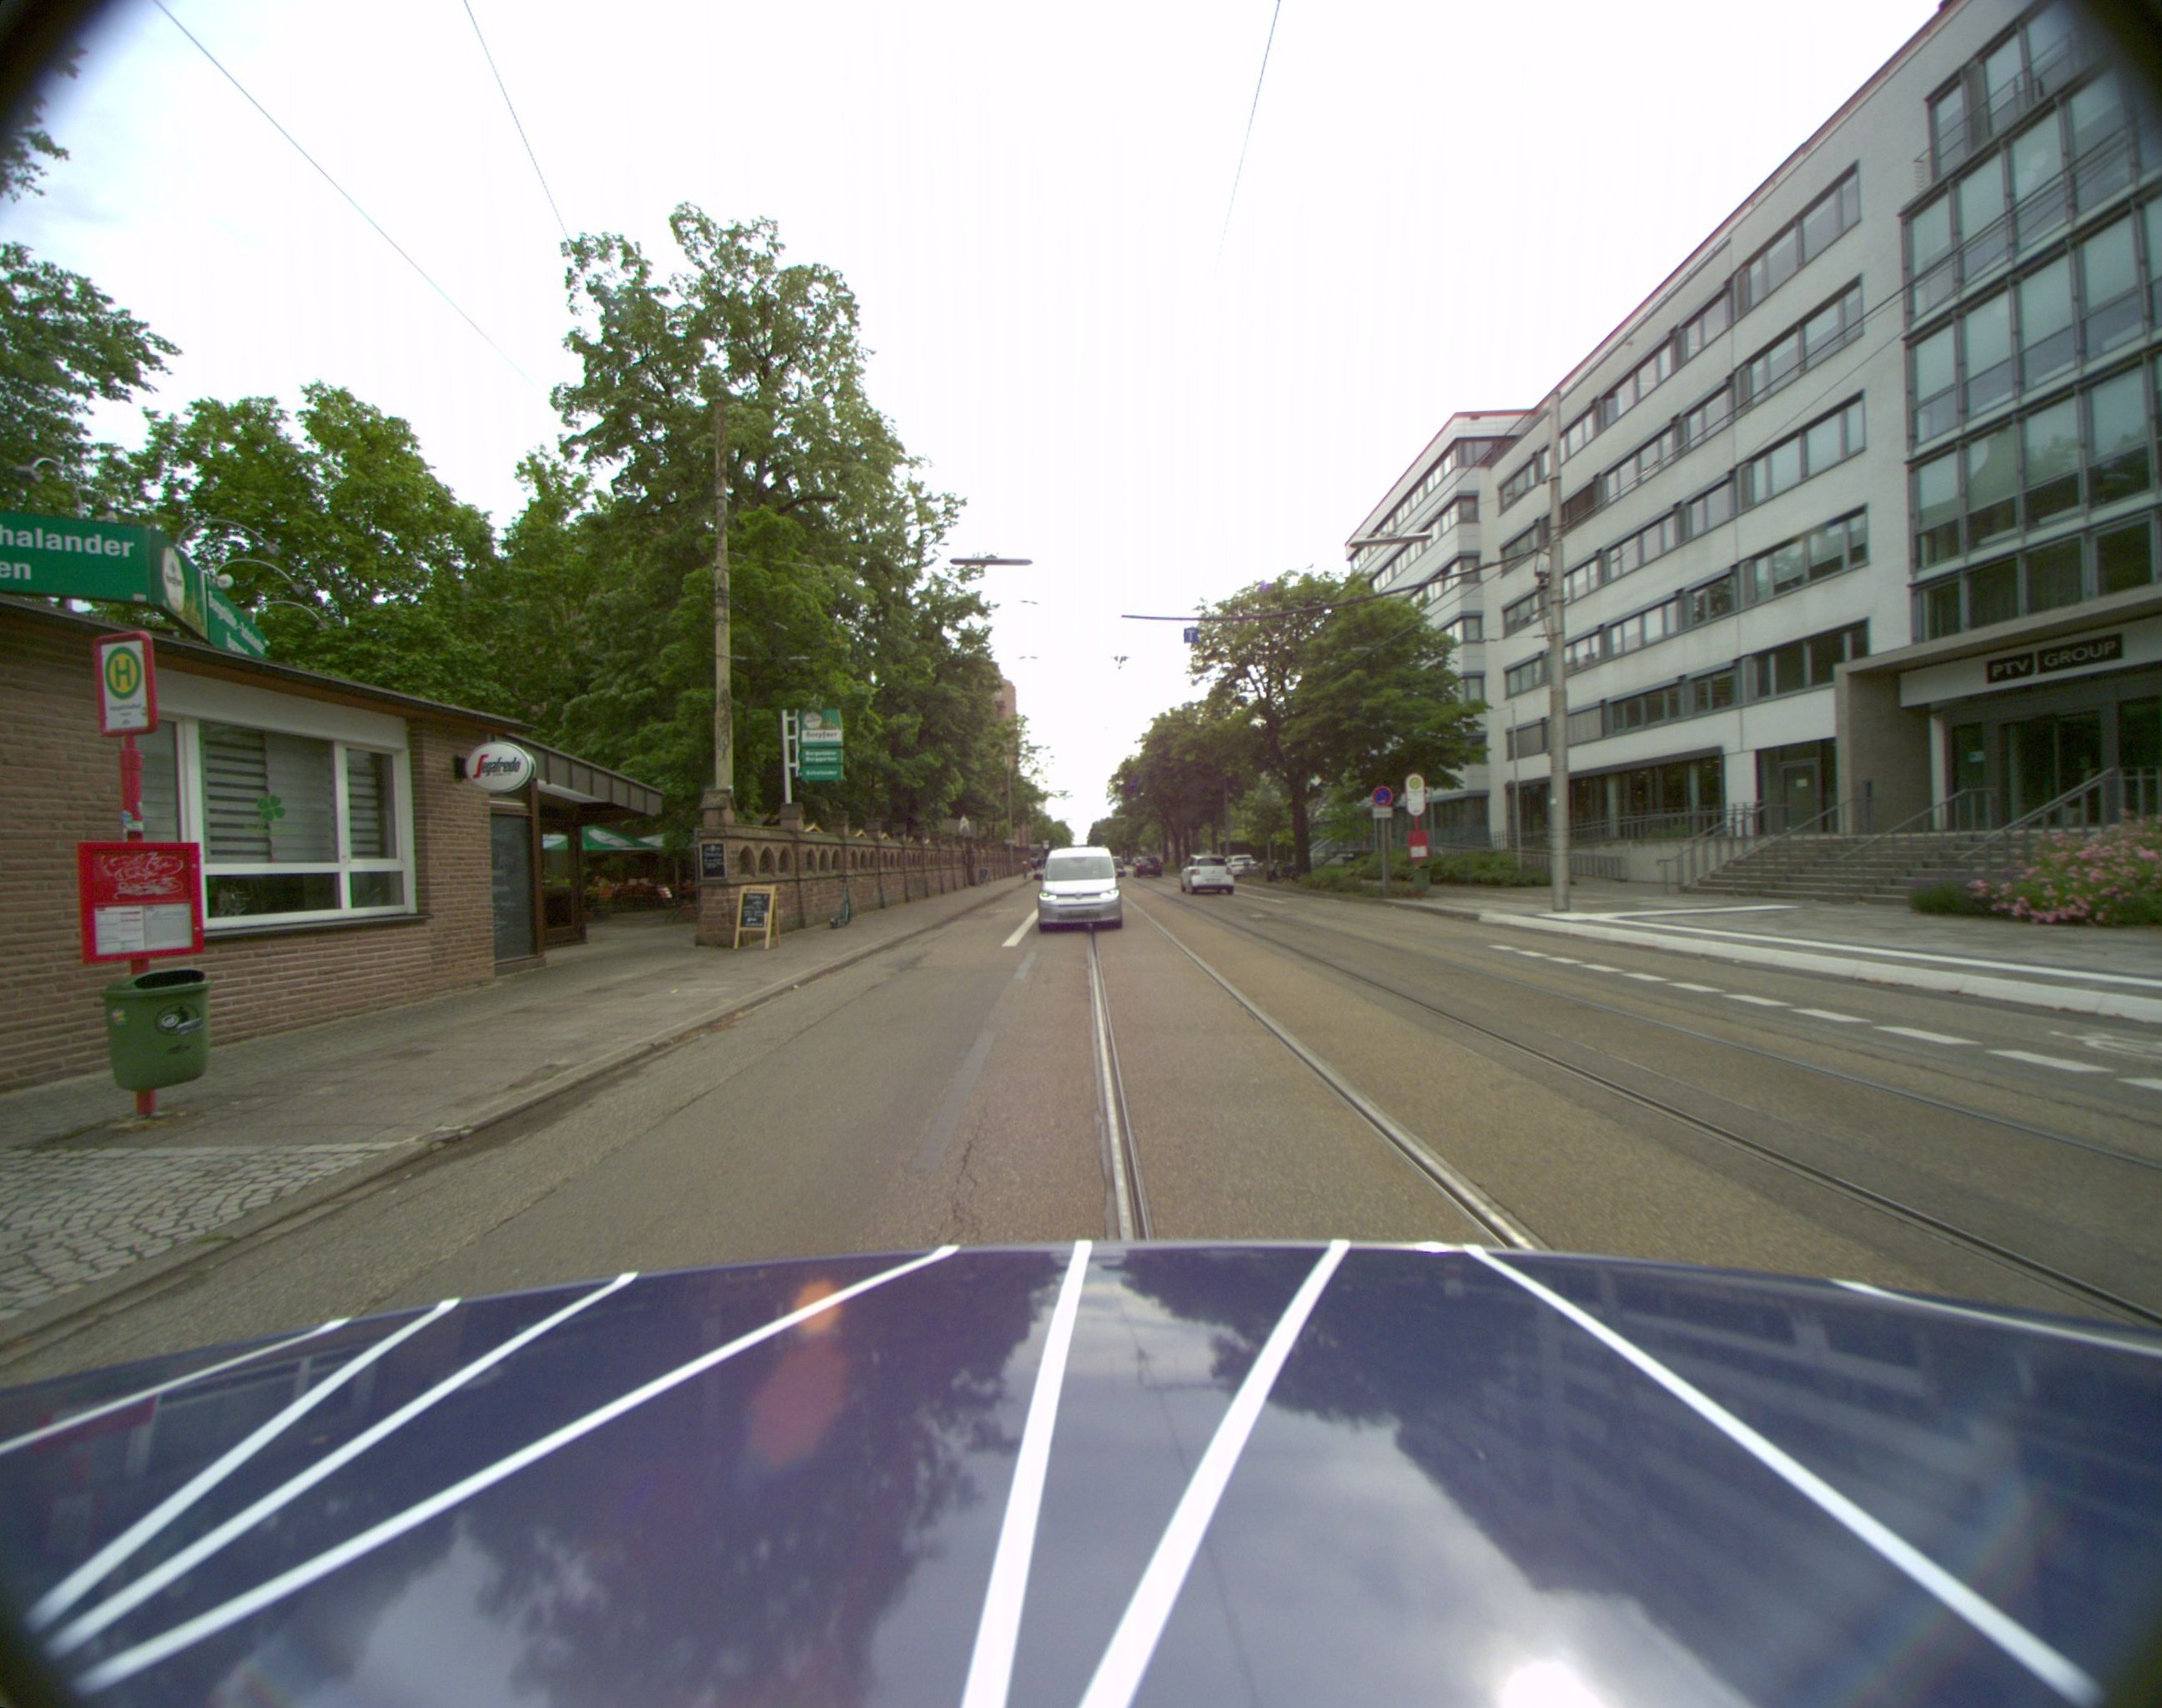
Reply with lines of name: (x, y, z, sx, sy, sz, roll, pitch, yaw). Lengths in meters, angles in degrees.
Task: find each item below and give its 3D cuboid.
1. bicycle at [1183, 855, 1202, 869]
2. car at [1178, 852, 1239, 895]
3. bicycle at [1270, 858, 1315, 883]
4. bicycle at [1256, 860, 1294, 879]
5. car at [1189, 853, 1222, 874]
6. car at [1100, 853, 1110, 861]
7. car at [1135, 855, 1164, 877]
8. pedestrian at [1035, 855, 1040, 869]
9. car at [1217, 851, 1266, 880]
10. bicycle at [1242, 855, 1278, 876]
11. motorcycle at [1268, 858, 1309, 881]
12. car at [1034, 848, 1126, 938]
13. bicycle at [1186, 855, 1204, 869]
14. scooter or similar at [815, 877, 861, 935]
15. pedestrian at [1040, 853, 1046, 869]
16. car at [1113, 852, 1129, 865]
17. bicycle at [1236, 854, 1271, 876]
bicycle: (9.688, 0.716, 65.937, 1.474, 1.085, 0.616, -4, 1, -12)
car: (5.006, 0.716, 30.284, 1.708, 1.521, 3.741, -3, 1, -1)
bicycle: (9.897, 0.765, 35.590, 1.834, 1.047, 0.741, -2, 0, -8)
bicycle: (10.059, 0.798, 39.365, 1.811, 0.894, 0.632, -1, 1, -6)
car: (9.735, 0.694, 59.561, 1.632, 1.439, 3.756, -5, 1, -3)
car: (4.619, 0.602, 145.751, 1.745, 1.490, 4.260, -2, 0, -1)
car: (4.938, 0.888, 55.155, 1.752, 1.477, 4.063, -1, -1, 0)
pedestrian: (-5.353, 0.943, 92.691, 0.559, 1.646, 0.771, 0, 1, -2)
car: (9.584, 0.653, 45.672, 1.886, 1.485, 4.753, -4, 0, 0)
bicycle: (9.810, 0.622, 41.755, 1.811, 1.094, 0.632, -1, 1, -6)
motorcycle: (10.287, 0.774, 37.719, 1.793, 1.044, 0.732, -3, 1, -7)
car: (-0.003, 0.772, 17.944, 1.850, 1.797, 4.936, -1, 1, 0)
bicycle: (10.023, 0.679, 66.938, 1.473, 1.134, 0.617, -2, 1, -1)
scooter or similar: (-5.584, 1.171, 17.540, 0.578, 1.232, 1.410, 1, 1, 1)
pedestrian: (-4.599, 0.846, 92.742, 0.723, 1.834, 0.897, -1, 1, -2)
car: (5.105, 0.572, 98.403, 1.846, 1.644, 4.389, 0, 0, 0)
bicycle: (9.735, 0.606, 42.916, 1.868, 1.180, 0.632, -1, 1, 5)
